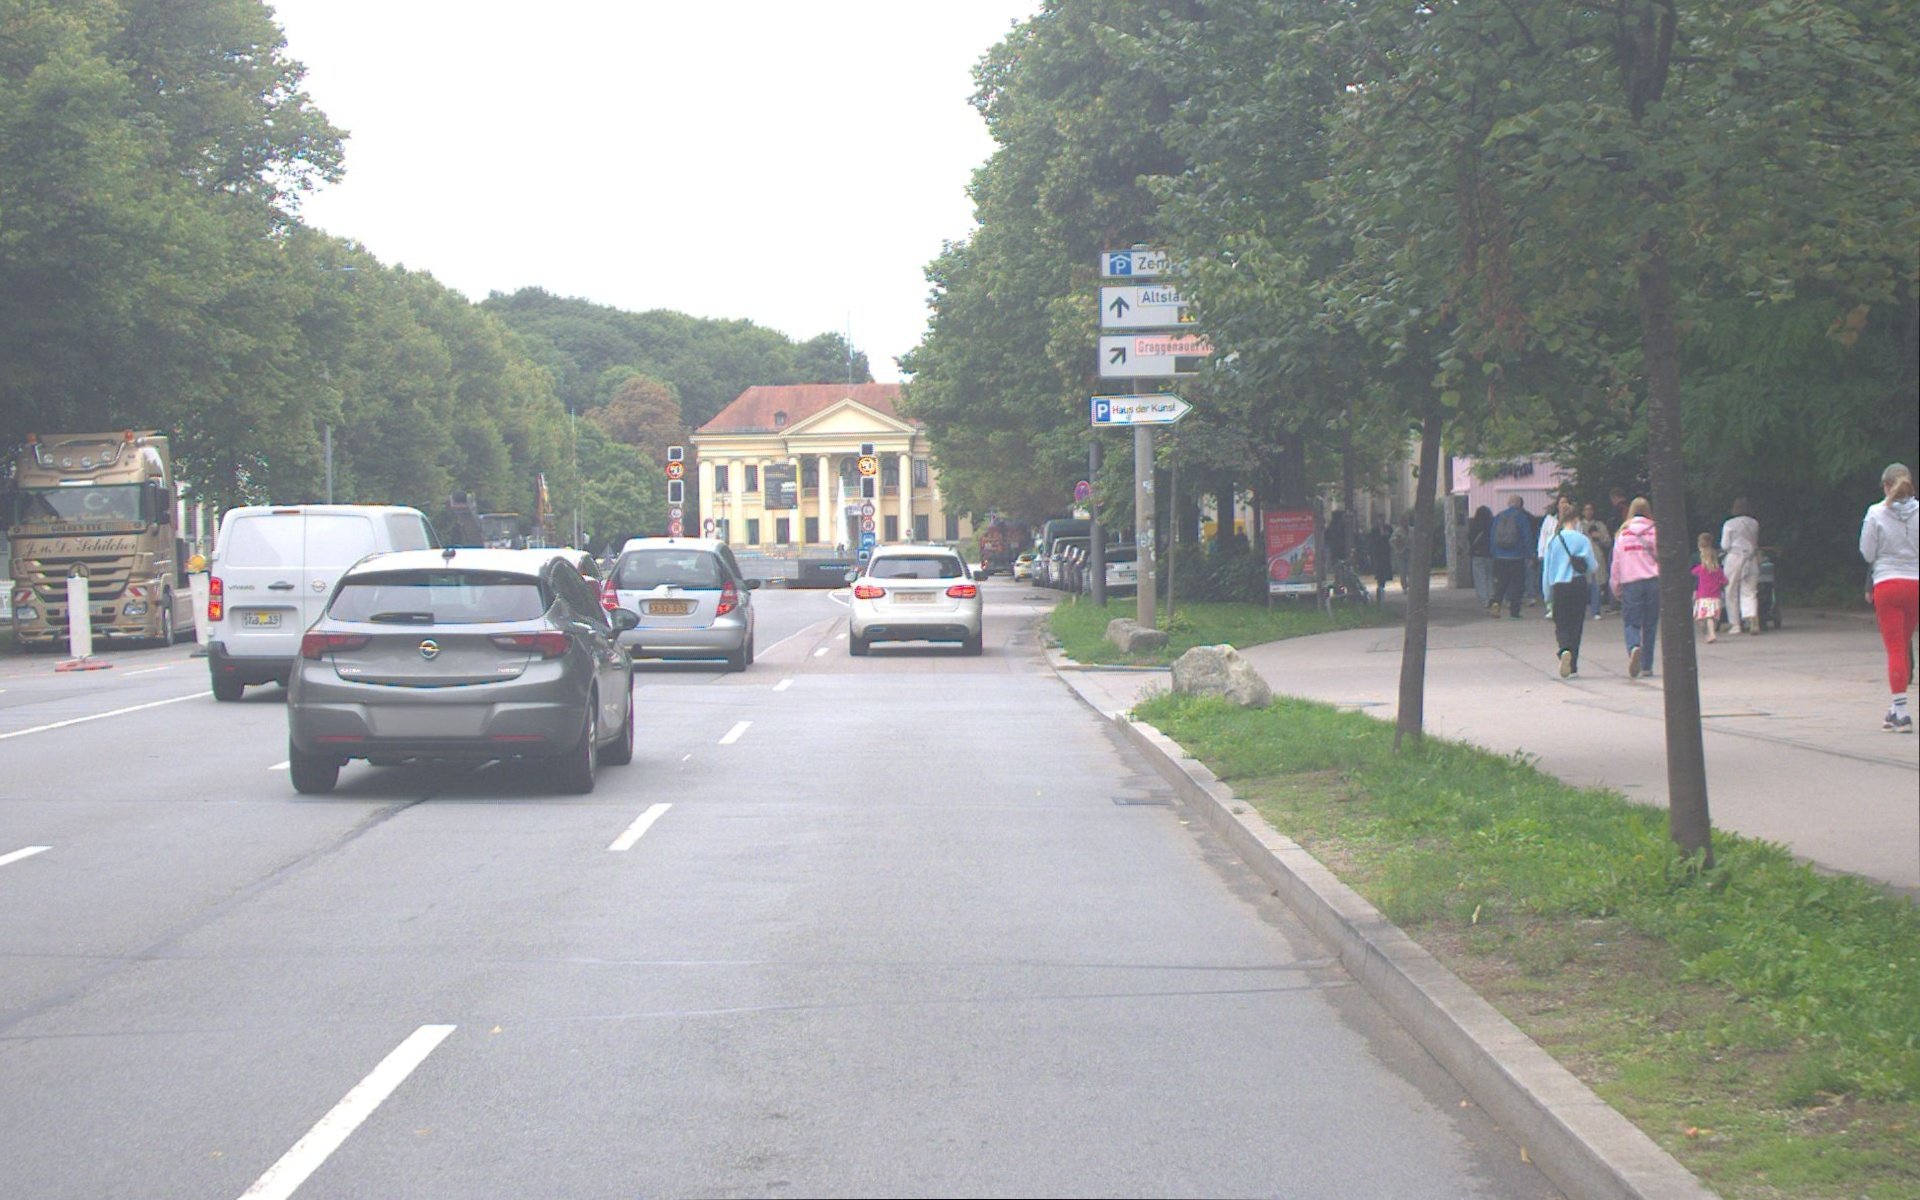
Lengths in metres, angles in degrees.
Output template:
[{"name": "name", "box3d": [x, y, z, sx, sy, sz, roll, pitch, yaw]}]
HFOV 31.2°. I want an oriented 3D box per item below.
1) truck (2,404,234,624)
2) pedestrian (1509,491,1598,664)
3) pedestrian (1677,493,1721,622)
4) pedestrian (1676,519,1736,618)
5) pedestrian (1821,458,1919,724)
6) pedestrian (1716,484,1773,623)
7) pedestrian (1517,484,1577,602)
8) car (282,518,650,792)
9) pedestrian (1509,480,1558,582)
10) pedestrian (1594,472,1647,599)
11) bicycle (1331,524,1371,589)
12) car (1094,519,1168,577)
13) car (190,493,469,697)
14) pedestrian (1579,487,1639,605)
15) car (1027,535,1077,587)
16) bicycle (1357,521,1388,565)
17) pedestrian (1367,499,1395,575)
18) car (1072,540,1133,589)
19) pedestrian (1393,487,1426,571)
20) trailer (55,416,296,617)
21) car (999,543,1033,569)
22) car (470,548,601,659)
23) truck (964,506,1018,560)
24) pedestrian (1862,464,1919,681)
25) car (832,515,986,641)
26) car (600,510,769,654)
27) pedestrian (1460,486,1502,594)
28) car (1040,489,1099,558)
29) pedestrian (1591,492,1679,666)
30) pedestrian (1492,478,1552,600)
[{"name": "truck", "box3d": [-15.280, -1.542, 62.920, 2.915, 3.762, 7.667, 0, 1, -4]}, {"name": "pedestrian", "box3d": [5.715, -0.227, 33.064, 0.755, 1.638, 0.849, 1, 1, 15]}, {"name": "pedestrian", "box3d": [8.995, -0.522, 41.845, 0.485, 1.560, 0.572, 0, 1, 15]}, {"name": "pedestrian", "box3d": [8.601, -0.369, 39.626, 0.632, 1.133, 0.572, 1, 1, 15]}, {"name": "pedestrian", "box3d": [5.964, -0.063, 22.091, 0.726, 1.685, 0.648, 0, 1, 5]}, {"name": "pedestrian", "box3d": [9.421, -0.559, 41.286, 0.632, 1.661, 0.572, 0, 1, 15]}, {"name": "pedestrian", "box3d": [8.196, -0.794, 48.007, 0.755, 1.638, 0.650, 1, 1, 15]}, {"name": "car", "box3d": [-2.986, 0.278, 21.527, 1.710, 1.546, 4.000, 0, 1, 0]}, {"name": "pedestrian", "box3d": [9.893, -1.190, 59.297, 0.755, 1.731, 0.849, 0, 1, 15]}, {"name": "pedestrian", "box3d": [9.527, -0.933, 49.596, 0.588, 1.816, 0.850, 0, 1, 1]}, {"name": "bicycle", "box3d": [6.197, -0.698, 54.528, 0.384, 1.018, 2.079, 0, 1, 0]}, {"name": "car", "box3d": [4.780, -1.473, 96.556, 1.827, 1.544, 4.752, -2, 1, 0]}, {"name": "car", "box3d": [-6.174, -0.078, 34.221, 1.898, 1.841, 4.956, -1, 1, -1]}, {"name": "pedestrian", "box3d": [9.067, -0.758, 48.022, 0.755, 1.638, 0.690, 1, 1, 15]}, {"name": "car", "box3d": [3.382, -1.471, 127.572, 1.724, 1.861, 4.028, -2, 1, 0]}, {"name": "bicycle", "box3d": [13.499, -1.870, 112.620, 0.699, 1.410, 2.299, -1, 1, 0]}, {"name": "pedestrian", "box3d": [9.261, -1.382, 75.610, 0.580, 1.670, 0.553, 0, 1, 3]}, {"name": "car", "box3d": [4.484, -1.146, 108.881, 1.724, 1.459, 4.776, -2, 1, 0]}, {"name": "pedestrian", "box3d": [9.514, -1.495, 72.789, 0.630, 1.768, 0.782, 0, 1, 3]}, {"name": "trailer", "box3d": [-15.768, -1.668, 70.045, 2.949, 3.727, 11.773, 0, 1, -4]}, {"name": "car", "box3d": [2.935, -2.316, 181.538, 1.724, 1.319, 4.028, -2, 1, 0]}, {"name": "car", "box3d": [-6.581, 0.028, 53.596, 1.779, 1.648, 4.001, 0, 1, -3]}, {"name": "truck", "box3d": [1.960, -4.240, 219.007, 3.325, 3.355, 8.663, 0, 1, 0]}, {"name": "pedestrian", "box3d": [8.184, -0.242, 29.939, 0.610, 1.866, 0.692, 1, 1, 16]}, {"name": "car", "box3d": [-0.735, -0.321, 46.910, 1.779, 1.639, 4.001, 0, 1, -5]}, {"name": "car", "box3d": [-3.272, -0.239, 41.467, 1.779, 1.648, 4.000, 0, 1, -1]}, {"name": "pedestrian", "box3d": [8.615, -0.993, 56.905, 0.607, 1.757, 0.797, 0, 1, 3]}, {"name": "car", "box3d": [4.245, -2.978, 134.421, 1.993, 2.634, 4.878, 0, 1, -2]}, {"name": "pedestrian", "box3d": [6.474, -0.208, 32.942, 0.755, 1.638, 0.849, 1, 1, 15]}, {"name": "pedestrian", "box3d": [8.030, -0.871, 49.080, 0.755, 1.731, 0.849, 0, 1, 15]}]
